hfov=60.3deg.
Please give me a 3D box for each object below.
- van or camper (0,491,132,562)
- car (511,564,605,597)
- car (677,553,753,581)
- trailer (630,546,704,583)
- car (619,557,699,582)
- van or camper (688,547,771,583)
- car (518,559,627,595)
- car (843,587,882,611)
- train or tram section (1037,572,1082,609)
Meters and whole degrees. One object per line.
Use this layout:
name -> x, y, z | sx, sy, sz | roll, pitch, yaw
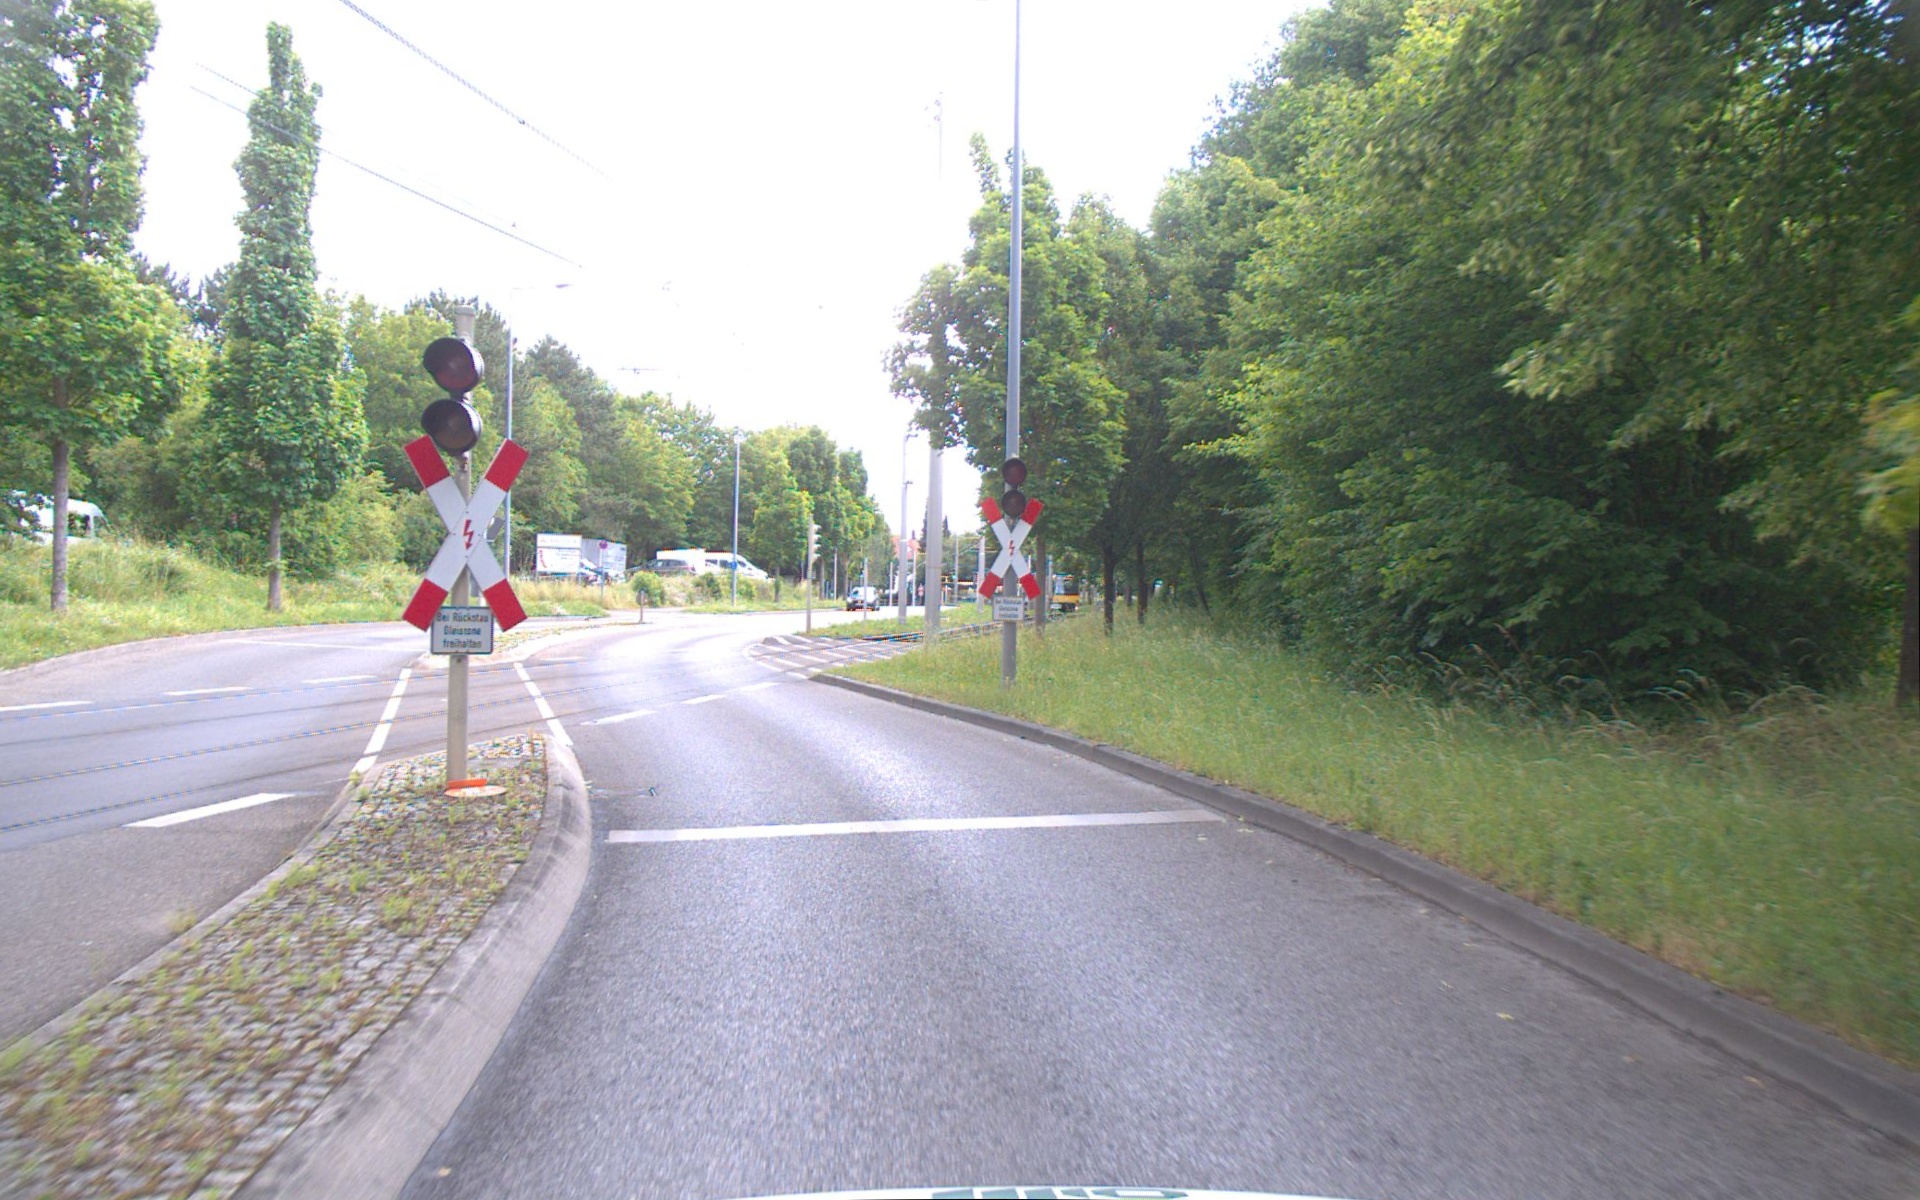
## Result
van or camper -> -26.389, -2.100, 48.048 | 1.951, 1.910, 4.633 | 2, 1, 6
car -> -18.791, -0.915, 77.442 | 3.872, 1.421, 2.001 | 2, 1, 1
car -> -16.284, -2.170, 109.909 | 4.543, 1.685, 2.002 | 2, 0, 11
trailer -> -17.357, -2.124, 98.053 | 3.902, 2.048, 1.909 | 2, 1, 6
car -> -17.252, -1.747, 94.993 | 4.223, 1.474, 1.836 | 0, 1, 0
van or camper -> -15.642, -2.348, 112.404 | 5.221, 2.241, 2.001 | 2, 1, 3
car -> -19.300, -1.150, 82.443 | 4.823, 1.612, 2.208 | 2, 0, 3
car -> -6.017, -0.084, 102.354 | 1.952, 1.463, 4.428 | 0, 1, 3
train or tram section -> 9.973, -1.046, 170.485 | 2.946, 3.368, 34.715 | 2, 1, 1
